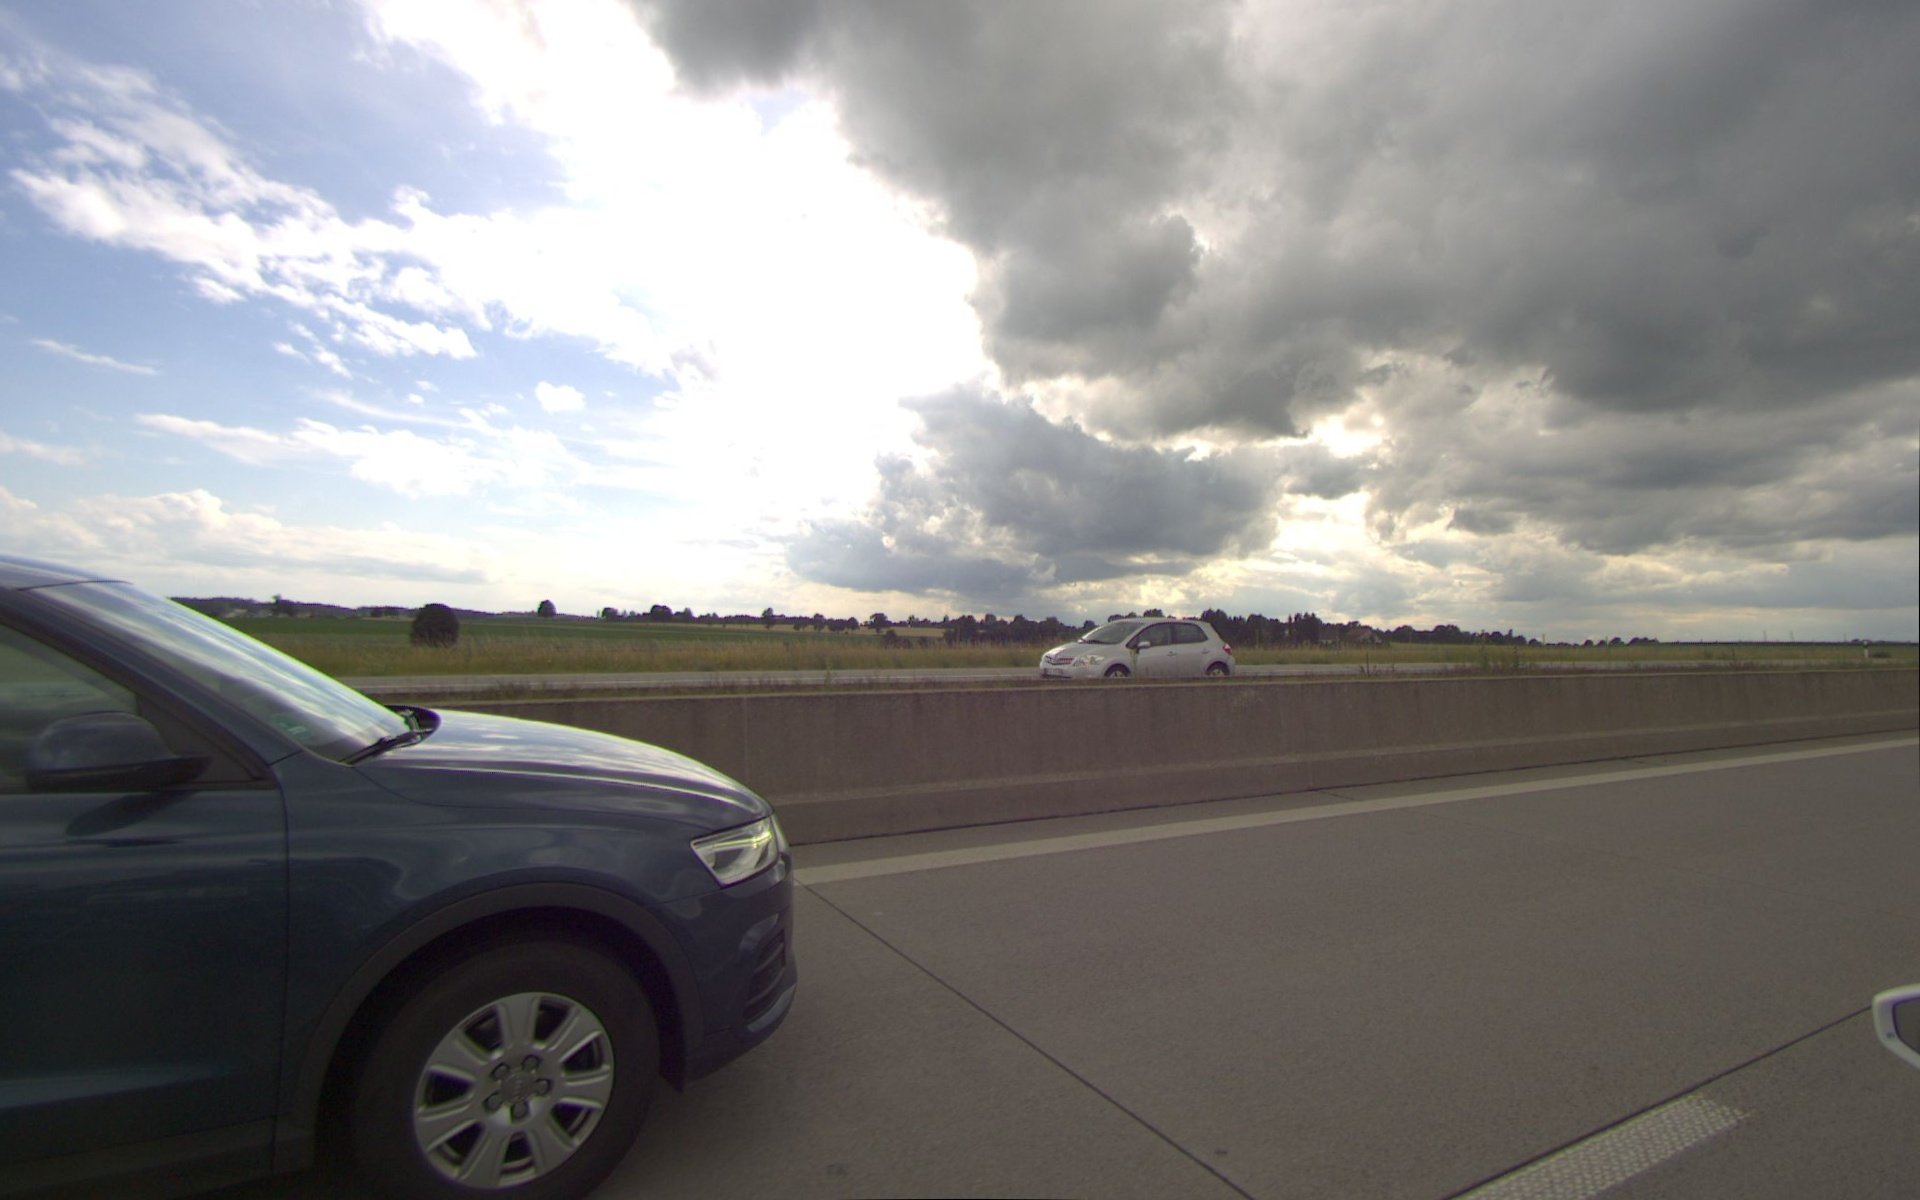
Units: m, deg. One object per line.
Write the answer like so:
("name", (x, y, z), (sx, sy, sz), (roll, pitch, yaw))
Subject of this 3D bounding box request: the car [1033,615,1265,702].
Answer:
("car", (3.815, 1.150, 20.026), (4.464, 1.527, 1.769), (3, -1, -30))

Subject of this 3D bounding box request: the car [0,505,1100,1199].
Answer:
("car", (-2.196, 0.628, 2.584), (5.099, 1.617, 1.783), (2, 0, -32))
